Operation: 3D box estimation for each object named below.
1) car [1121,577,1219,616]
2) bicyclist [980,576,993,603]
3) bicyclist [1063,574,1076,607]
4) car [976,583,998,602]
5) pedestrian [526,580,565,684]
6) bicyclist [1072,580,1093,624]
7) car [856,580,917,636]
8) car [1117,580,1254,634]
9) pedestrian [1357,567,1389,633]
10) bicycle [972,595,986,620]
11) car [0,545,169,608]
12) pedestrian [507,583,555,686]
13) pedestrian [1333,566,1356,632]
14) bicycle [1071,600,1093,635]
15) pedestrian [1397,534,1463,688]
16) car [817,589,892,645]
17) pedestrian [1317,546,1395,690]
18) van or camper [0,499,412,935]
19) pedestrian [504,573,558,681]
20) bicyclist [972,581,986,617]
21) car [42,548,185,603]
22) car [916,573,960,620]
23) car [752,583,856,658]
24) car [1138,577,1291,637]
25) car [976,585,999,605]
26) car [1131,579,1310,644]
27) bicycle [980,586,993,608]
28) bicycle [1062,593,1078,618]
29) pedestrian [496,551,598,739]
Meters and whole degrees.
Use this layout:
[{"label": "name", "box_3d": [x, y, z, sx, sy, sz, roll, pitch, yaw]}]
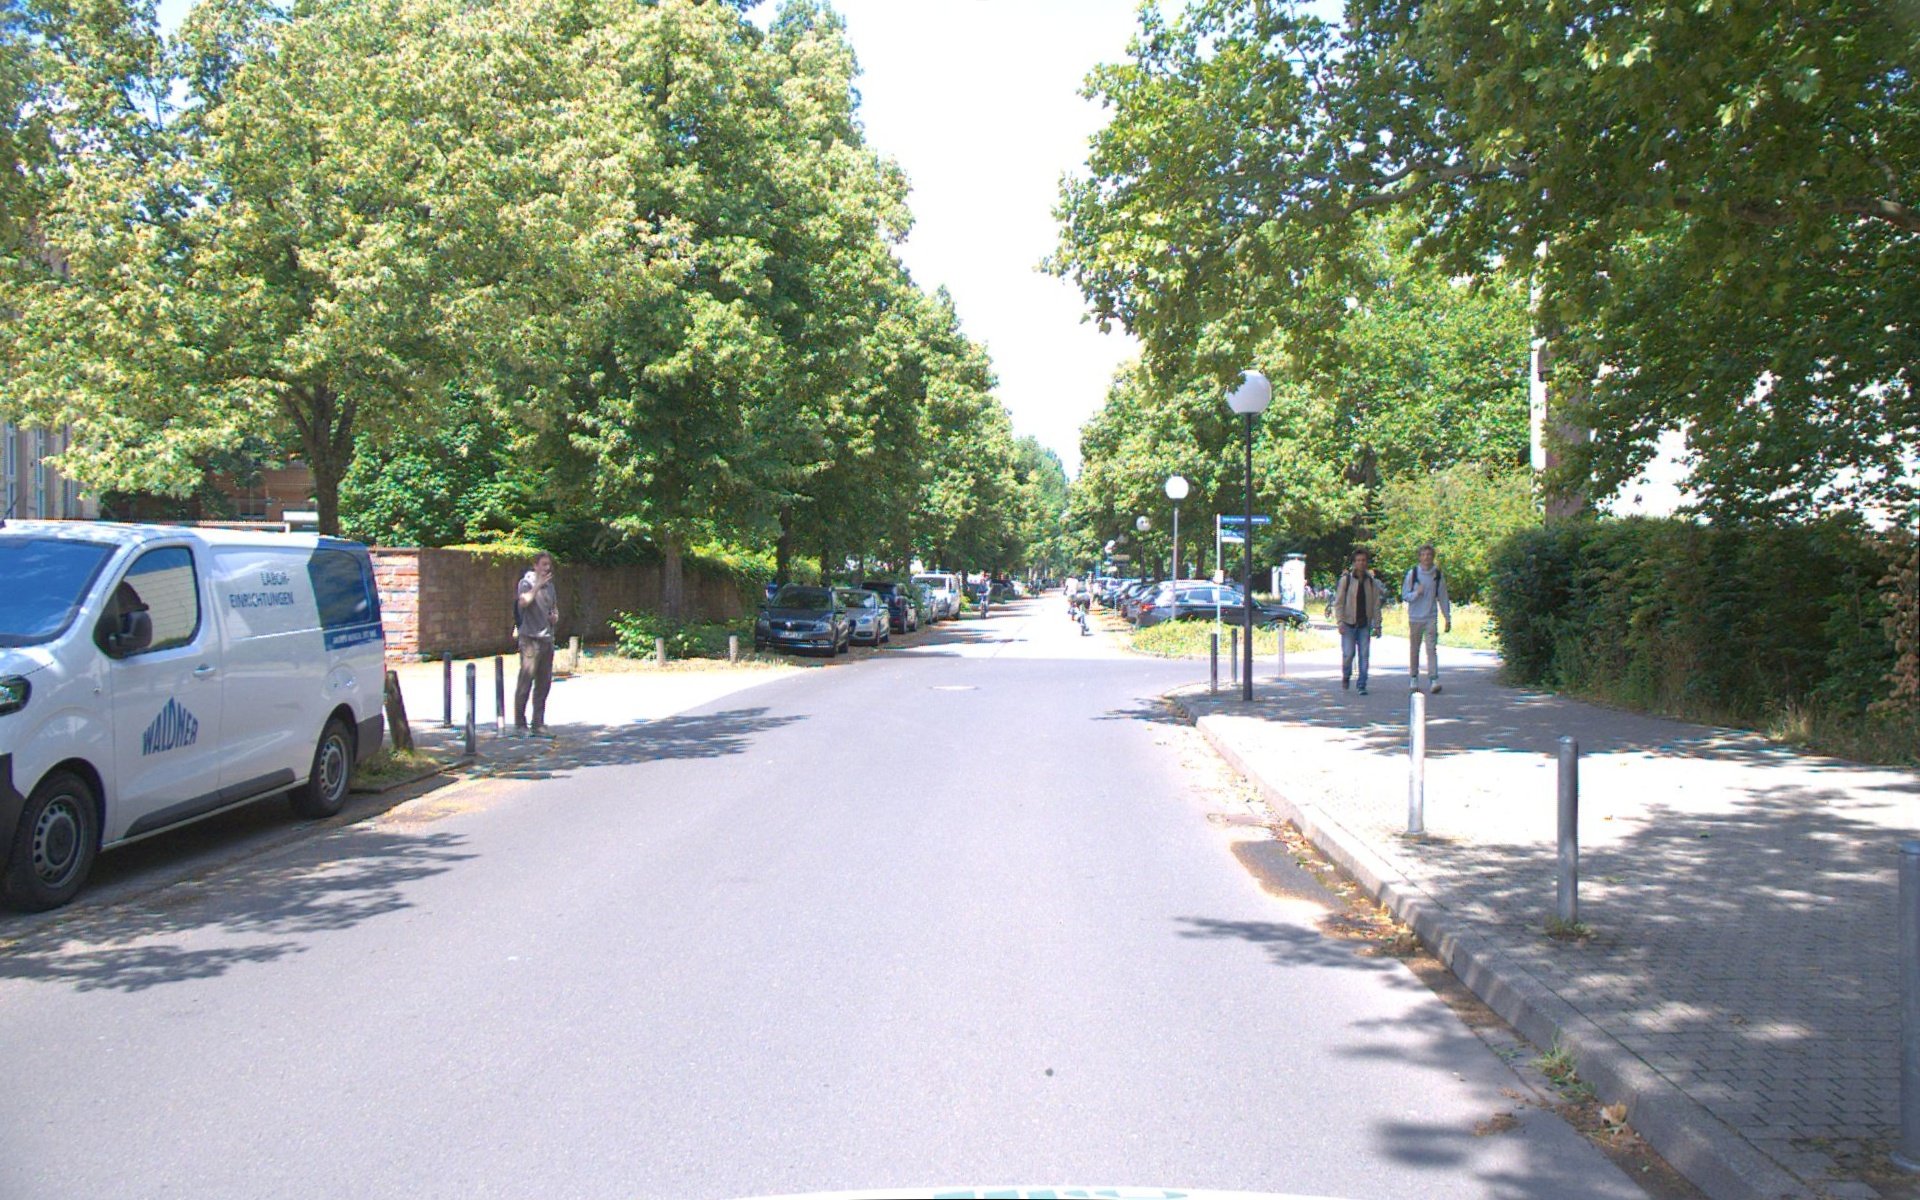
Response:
[{"label": "car", "box_3d": [9.198, -0.169, 72.725, 4.167, 1.616, 1.921, -1, 0, 3]}, {"label": "bicyclist", "box_3d": [1.283, -0.507, 80.262, 0.595, 1.318, 0.611, 0, 0, 2]}, {"label": "bicyclist", "box_3d": [4.480, -0.387, 67.432, 0.511, 1.318, 0.611, 0, 0, 2]}, {"label": "car", "box_3d": [2.085, -0.566, 126.191, 1.582, 1.388, 4.563, 0, 0, 1]}, {"label": "pedestrian", "box_3d": [-6.502, 0.491, 25.942, 0.489, 1.613, 0.489, 0, 0, -30]}, {"label": "bicyclist", "box_3d": [3.660, 0.063, 49.529, 0.597, 1.318, 0.611, 0, 0, 2]}, {"label": "car", "box_3d": [-2.302, 0.227, 52.599, 1.582, 1.708, 4.001, 0, 0, 2]}, {"label": "car", "box_3d": [7.108, 0.203, 52.443, 4.167, 1.616, 1.811, -1, 0, 3]}, {"label": "pedestrian", "box_3d": [11.171, -0.007, 44.740, 0.803, 1.786, 0.629, 0, 0, 9]}, {"label": "bicycle", "box_3d": [0.815, 0.322, 70.292, 0.565, 1.018, 1.424, 0, 0, 2]}, {"label": "car", "box_3d": [-22.801, -0.599, 42.730, 4.055, 1.543, 1.735, 0, 0, -36]}, {"label": "pedestrian", "box_3d": [-6.540, 0.513, 25.218, 0.579, 1.553, 0.487, 0, 0, -37]}, {"label": "pedestrian", "box_3d": [10.479, -0.028, 45.073, 0.588, 1.786, 0.629, 0, 0, 9]}, {"label": "bicycle", "box_3d": [3.661, 0.523, 49.598, 0.601, 1.018, 1.424, 0, 0, 2]}, {"label": "pedestrian", "box_3d": [5.936, 0.135, 20.916, 0.657, 1.905, 0.792, 0, 0, 5]}, {"label": "car", "box_3d": [-2.757, 0.431, 44.036, 1.582, 1.412, 4.001, 0, 0, 2]}, {"label": "pedestrian", "box_3d": [5.010, 0.223, 20.986, 0.804, 1.786, 0.841, -1, 0, 2]}, {"label": "van or camper", "box_3d": [-5.186, 0.491, 9.769, 1.913, 1.957, 5.421, 1, 1, 2]}, {"label": "pedestrian", "box_3d": [-6.871, 0.423, 26.471, 0.593, 1.692, 0.624, 0, 0, 45]}, {"label": "bicyclist", "box_3d": [0.819, -0.057, 70.233, 0.551, 1.524, 0.828, 0, 0, 2]}, {"label": "car", "box_3d": [-26.355, -0.762, 51.601, 3.800, 1.650, 1.745, 0, 0, -23]}, {"label": "car", "box_3d": [-0.896, -0.155, 67.983, 1.582, 1.847, 4.001, 0, 0, 2]}, {"label": "car", "box_3d": [-3.370, 0.412, 36.416, 1.723, 1.548, 4.113, 0, 0, 2]}, {"label": "car", "box_3d": [7.281, 0.191, 47.613, 4.167, 1.616, 1.811, -1, 0, 3]}, {"label": "car", "box_3d": [1.976, -0.346, 116.385, 1.582, 1.388, 4.001, 0, 0, 1]}, {"label": "car", "box_3d": [6.667, 0.286, 42.733, 4.391, 1.552, 1.811, -1, 0, 3]}, {"label": "bicycle", "box_3d": [1.282, -0.152, 80.255, 0.601, 1.018, 1.424, 0, 0, 2]}, {"label": "bicycle", "box_3d": [4.490, 0.228, 67.438, 0.601, 1.018, 1.424, 0, 0, 2]}, {"label": "pedestrian", "box_3d": [-4.268, 0.451, 17.133, 0.709, 1.889, 0.791, 0, 0, 20]}]
